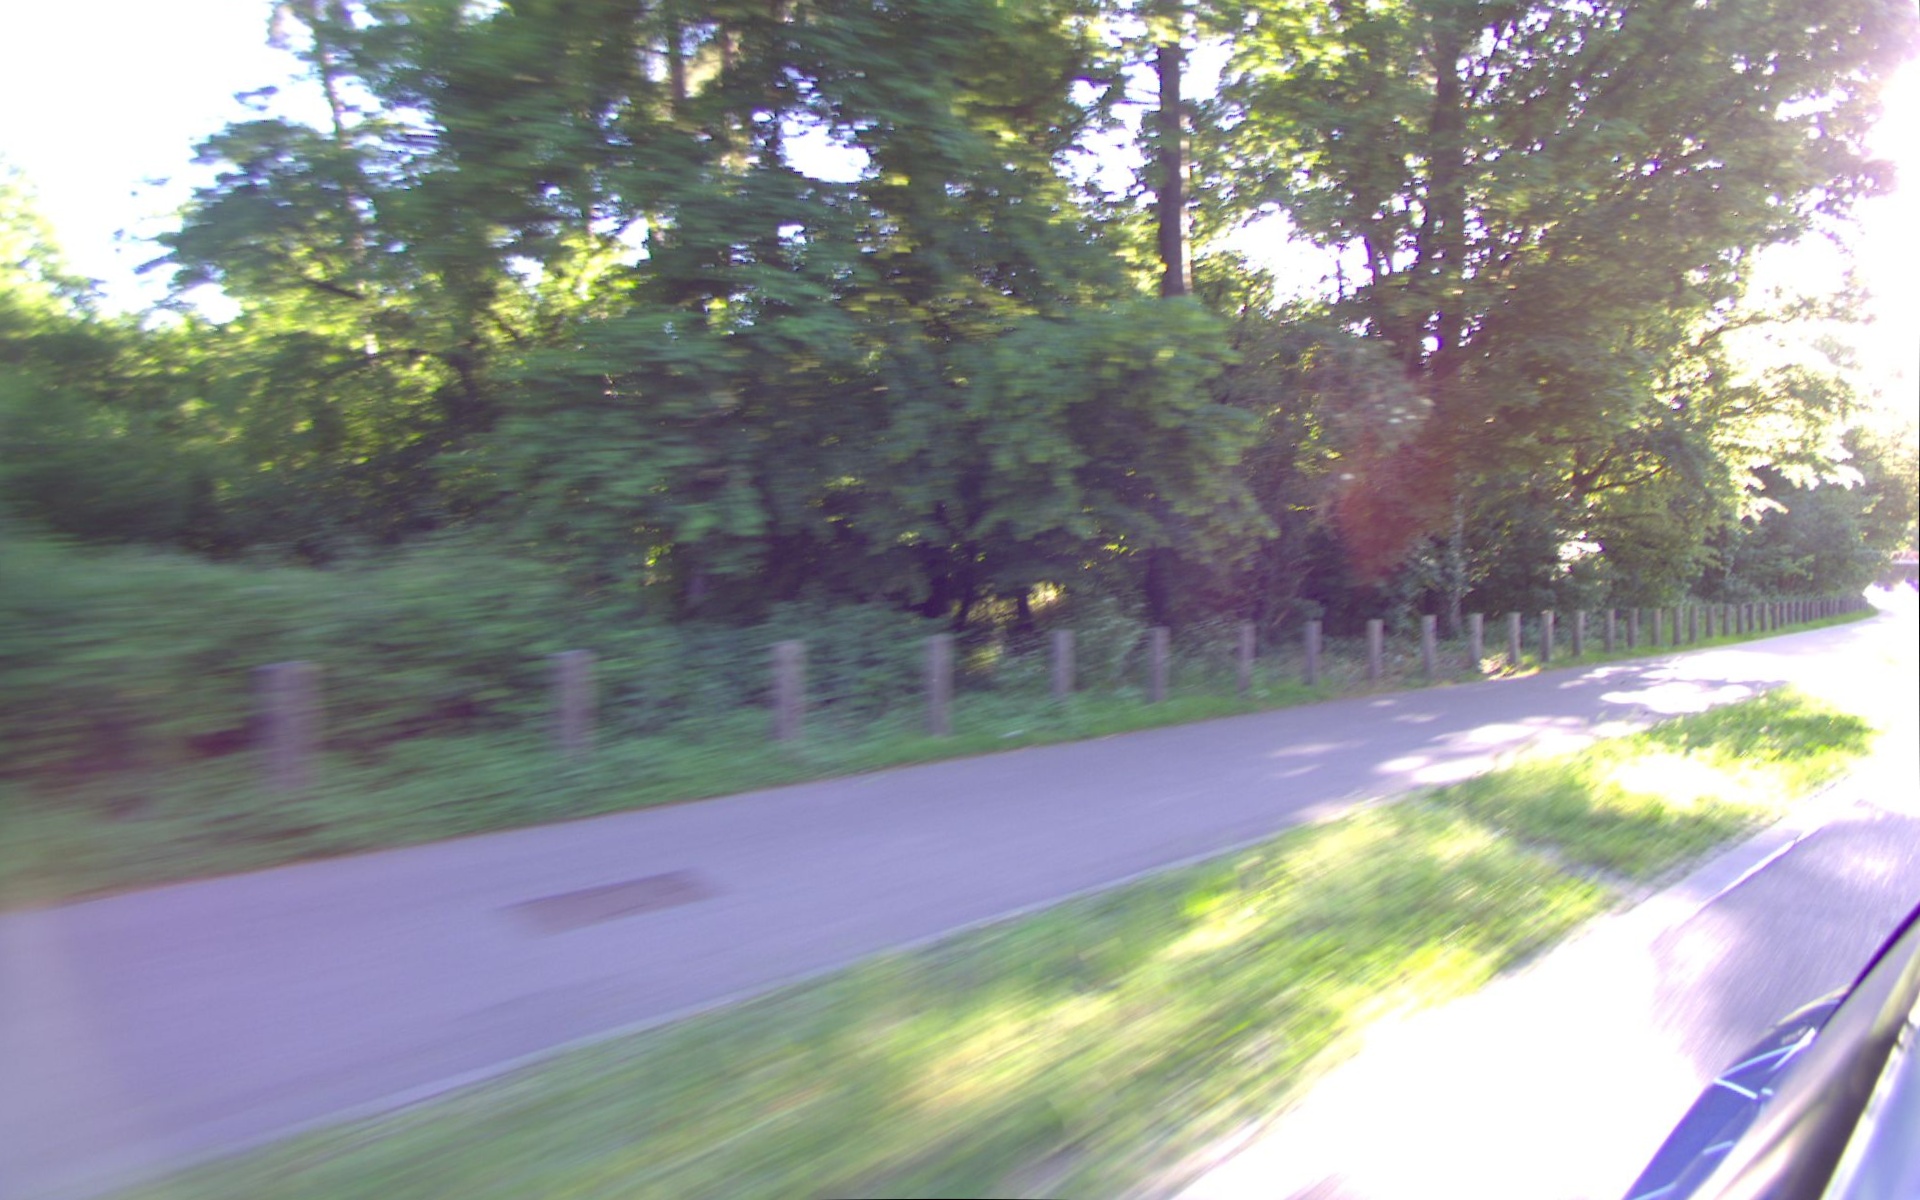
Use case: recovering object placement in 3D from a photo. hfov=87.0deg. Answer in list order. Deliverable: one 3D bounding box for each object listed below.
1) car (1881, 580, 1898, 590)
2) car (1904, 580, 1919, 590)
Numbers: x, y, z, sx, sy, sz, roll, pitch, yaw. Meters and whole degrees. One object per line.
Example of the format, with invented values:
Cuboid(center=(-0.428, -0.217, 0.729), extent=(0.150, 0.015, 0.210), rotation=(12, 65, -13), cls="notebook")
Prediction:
Cuboid(center=(173.652, -2.806, 189.131), extent=(1.816, 1.705, 3.949), rotation=(1, 2, 36), cls="car")
Cuboid(center=(153.863, -2.444, 163.309), extent=(1.817, 1.705, 3.948), rotation=(1, 2, 36), cls="car")
